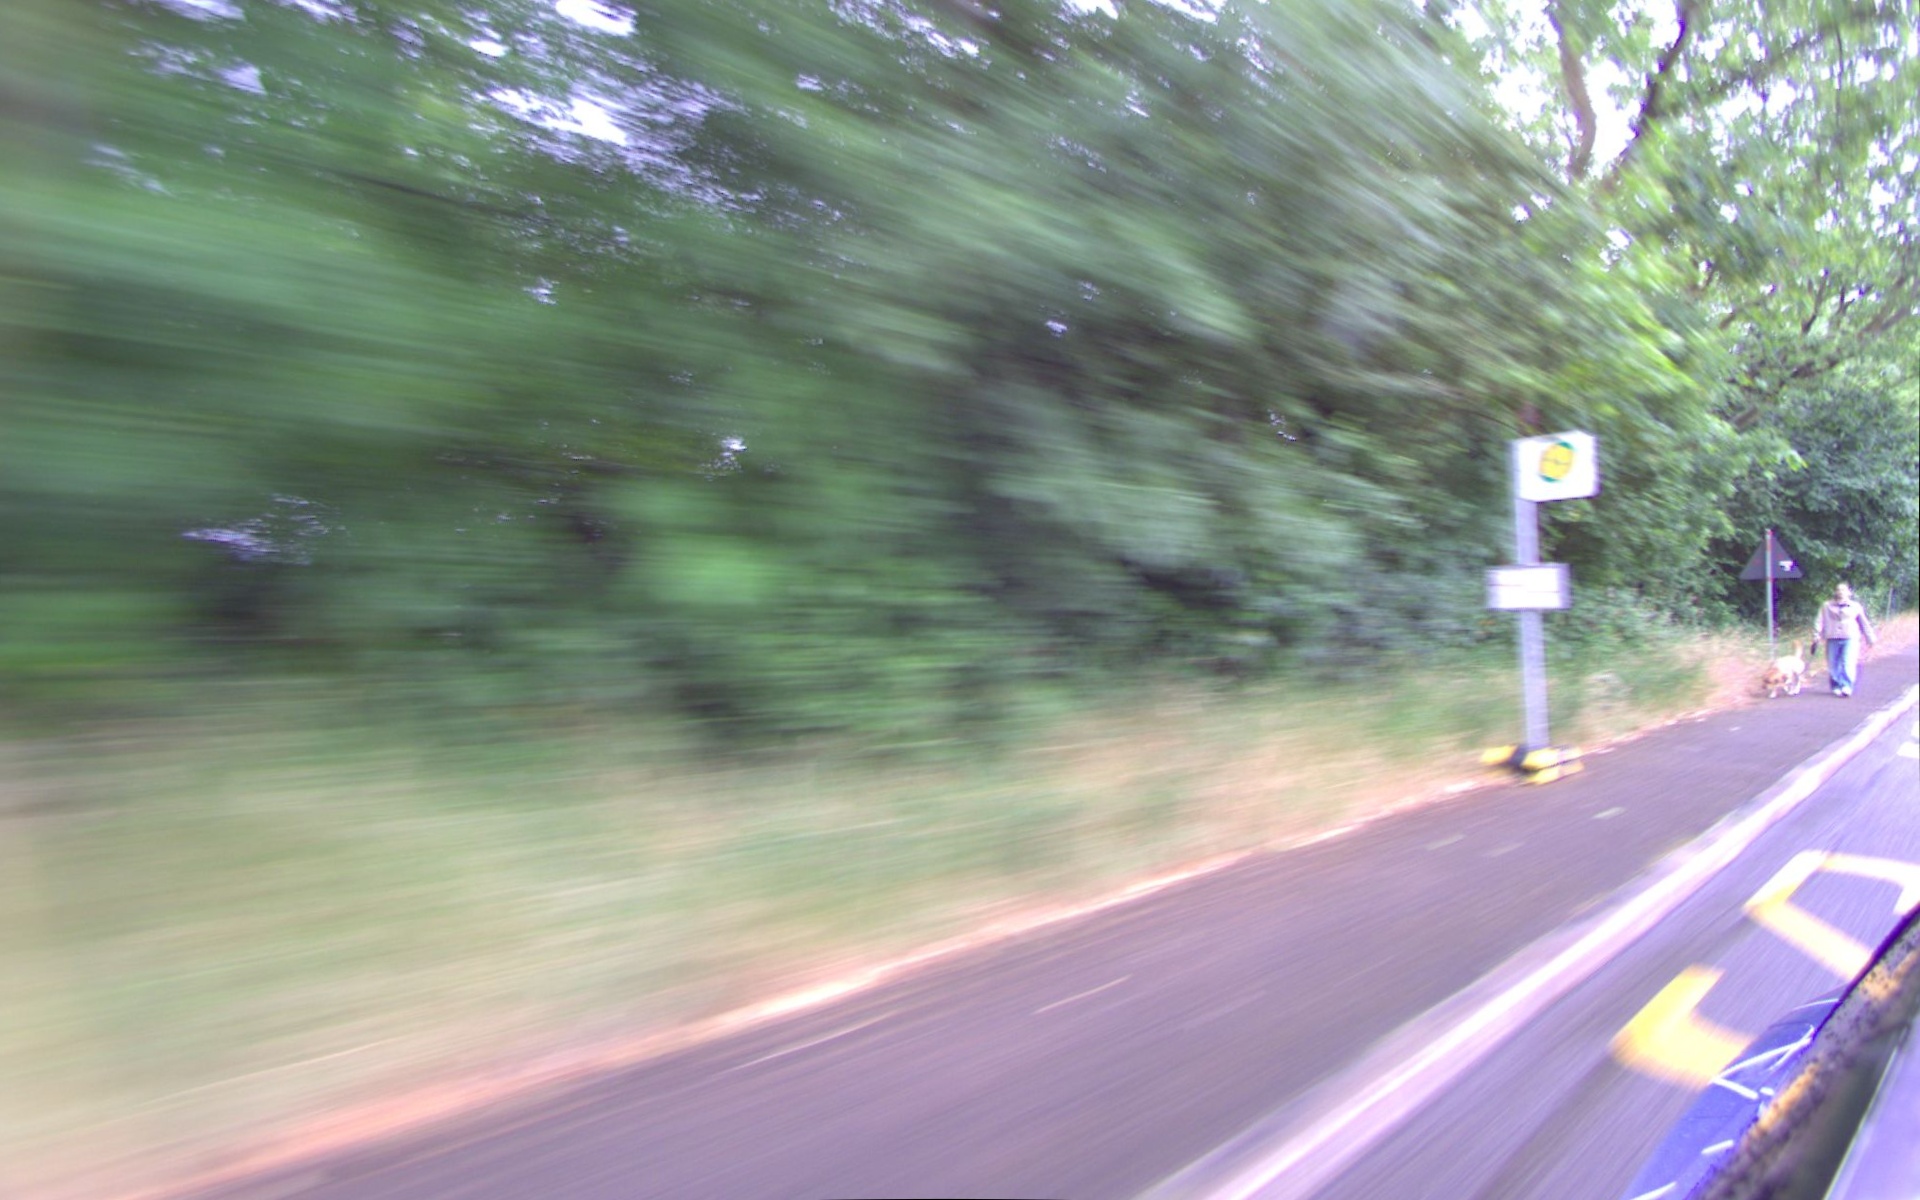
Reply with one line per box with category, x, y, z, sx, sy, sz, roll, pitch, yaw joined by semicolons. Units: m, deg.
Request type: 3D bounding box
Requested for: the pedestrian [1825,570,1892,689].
pedestrian;12.749;0.388;14.358;0.659;1.631;0.642;-1;1;-43
